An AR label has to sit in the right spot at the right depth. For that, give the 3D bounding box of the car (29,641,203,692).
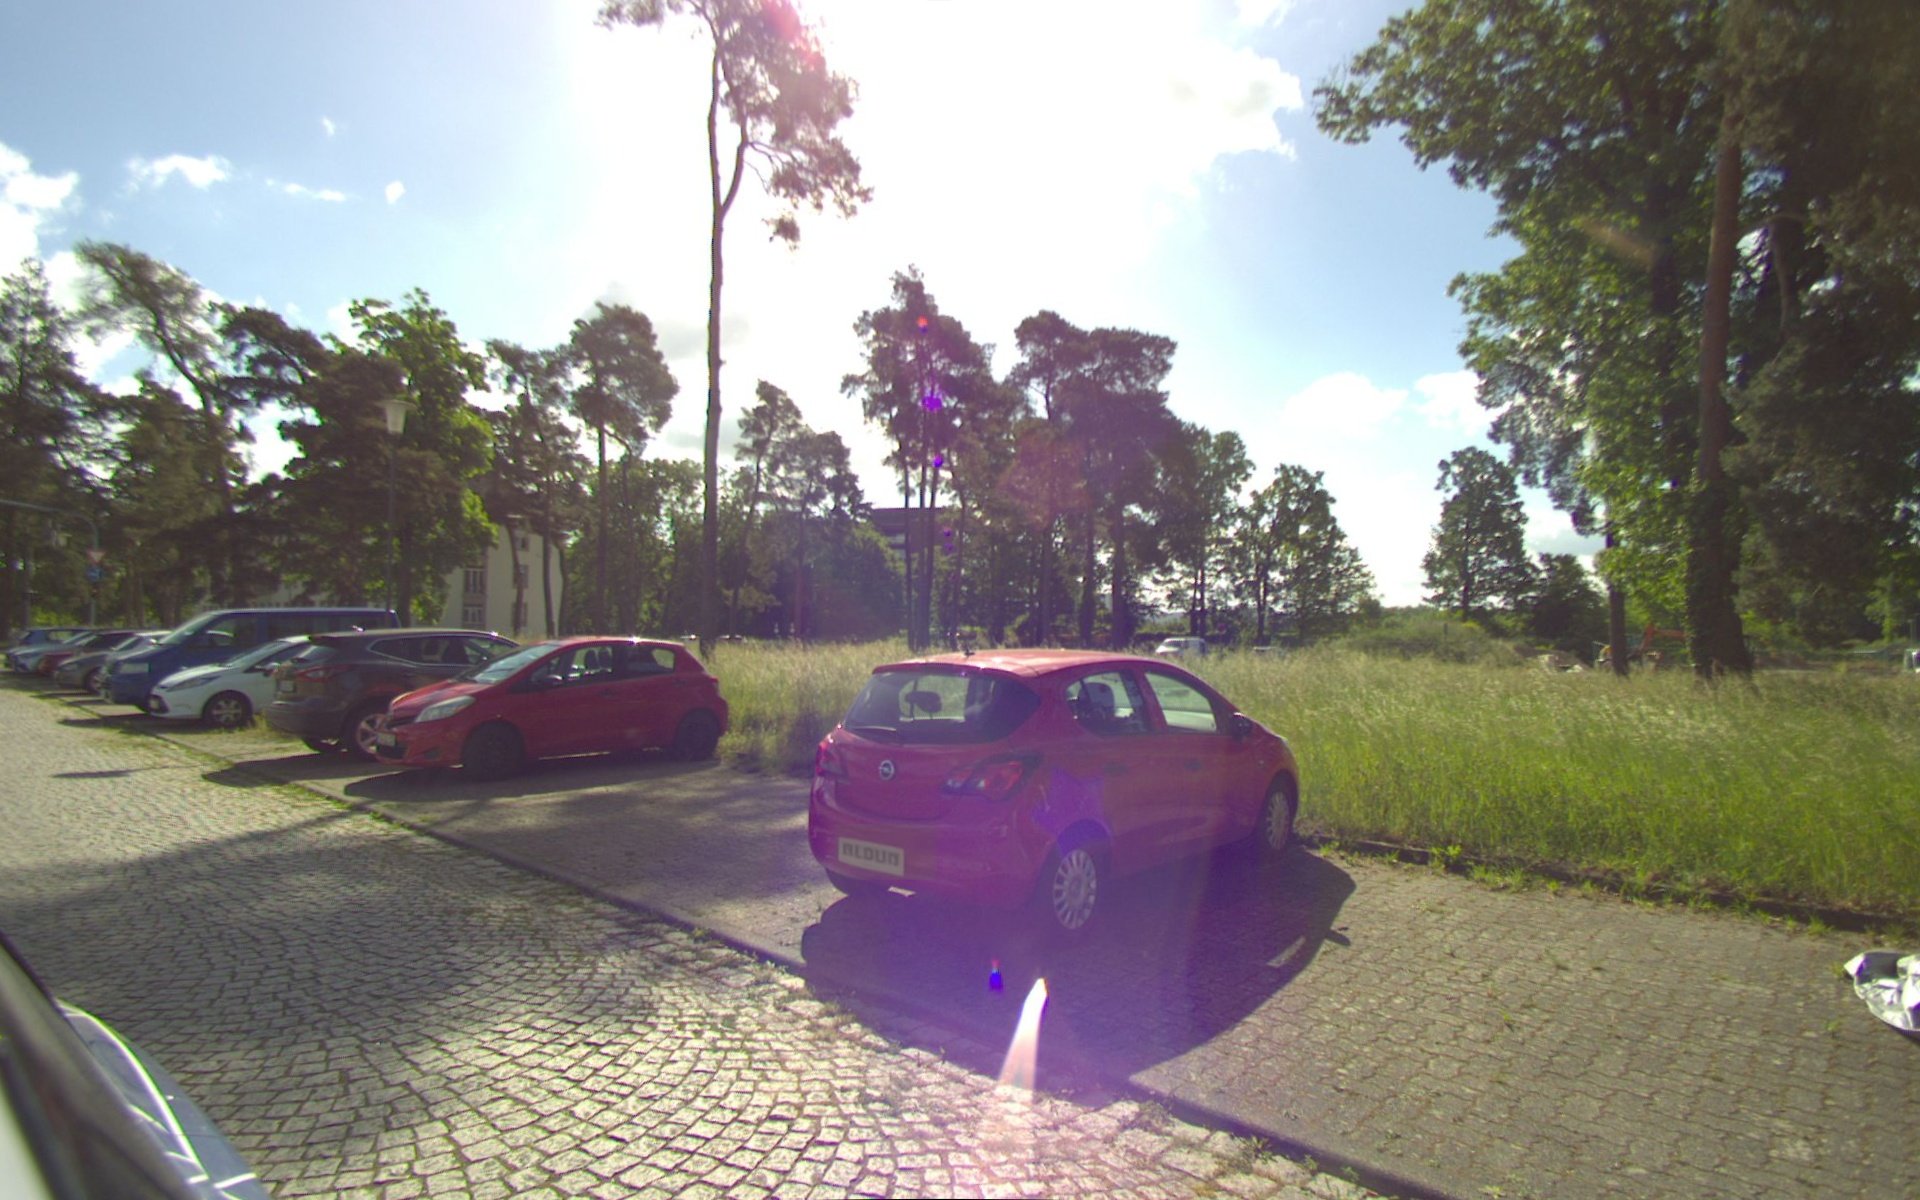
[{"bbox_3d":[-23.740,1.830,28.544,1.760,1.243,3.590,0,-1,43],"label":"car"}]

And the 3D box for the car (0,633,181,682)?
[{"bbox_3d":[-29.022,1.863,33.699,1.982,1.463,4.536,-1,-2,38],"label":"car"}]

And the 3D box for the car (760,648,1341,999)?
[{"bbox_3d":[0.831,1.077,6.542,1.841,1.472,3.883,-2,-3,40],"label":"car"}]

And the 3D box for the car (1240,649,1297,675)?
[{"bbox_3d":[20.354,4.112,66.690,1.913,1.617,4.182,-1,-4,43],"label":"car"}]

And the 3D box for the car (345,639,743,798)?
[{"bbox_3d":[-4.669,1.209,11.783,1.865,1.460,3.883,-2,-2,40],"label":"car"}]

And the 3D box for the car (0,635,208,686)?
[{"bbox_3d":[-26.923,1.845,31.967,1.938,1.431,4.812,0,-1,42],"label":"car"}]

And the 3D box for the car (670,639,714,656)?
[{"bbox_3d":[-27.250,4.867,102.948,1.720,1.593,4.049,-1,-4,43],"label":"car"}]

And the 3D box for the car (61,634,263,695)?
[{"bbox_3d":[-21.367,1.675,27.198,1.822,1.463,4.032,0,-1,43],"label":"car"}]

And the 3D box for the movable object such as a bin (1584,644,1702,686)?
[{"bbox_3d":[37.794,3.545,56.237,2.492,2.142,5.681,1,-3,-2],"label":"movable object such as a bin"}]

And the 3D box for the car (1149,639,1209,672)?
[{"bbox_3d":[15.388,3.916,70.945,1.957,2.180,4.792,-1,-4,43],"label":"car"}]

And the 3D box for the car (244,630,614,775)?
[{"bbox_3d":[-6.878,1.213,13.410,1.972,1.580,3.912,-2,-2,40],"label":"car"}]

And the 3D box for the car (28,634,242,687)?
[{"bbox_3d":[-24.906,1.777,30.708,1.938,1.431,4.812,-1,-2,42],"label":"car"}]

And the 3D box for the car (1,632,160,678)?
[{"bbox_3d":[-30.849,1.882,35.583,1.947,1.494,3.985,-2,-2,40],"label":"car"}]

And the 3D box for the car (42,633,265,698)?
[{"bbox_3d":[-19.660,1.542,24.780,1.923,1.436,4.032,-2,-2,43],"label":"car"}]

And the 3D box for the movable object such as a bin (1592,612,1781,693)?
[{"bbox_3d":[36.175,2.612,50.790,6.736,3.760,3.907,0,-3,18],"label":"movable object such as a bin"}]

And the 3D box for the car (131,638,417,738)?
[{"bbox_3d":[-11.719,1.428,17.493,1.681,1.451,3.778,-1,-1,39],"label":"car"}]

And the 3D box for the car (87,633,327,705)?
[{"bbox_3d":[-17.177,1.504,23.234,1.823,1.486,4.151,-2,-2,42],"label":"car"}]

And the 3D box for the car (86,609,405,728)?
[{"bbox_3d":[-13.509,1.194,19.372,2.005,1.983,4.667,-1,-2,42],"label":"car"}]
